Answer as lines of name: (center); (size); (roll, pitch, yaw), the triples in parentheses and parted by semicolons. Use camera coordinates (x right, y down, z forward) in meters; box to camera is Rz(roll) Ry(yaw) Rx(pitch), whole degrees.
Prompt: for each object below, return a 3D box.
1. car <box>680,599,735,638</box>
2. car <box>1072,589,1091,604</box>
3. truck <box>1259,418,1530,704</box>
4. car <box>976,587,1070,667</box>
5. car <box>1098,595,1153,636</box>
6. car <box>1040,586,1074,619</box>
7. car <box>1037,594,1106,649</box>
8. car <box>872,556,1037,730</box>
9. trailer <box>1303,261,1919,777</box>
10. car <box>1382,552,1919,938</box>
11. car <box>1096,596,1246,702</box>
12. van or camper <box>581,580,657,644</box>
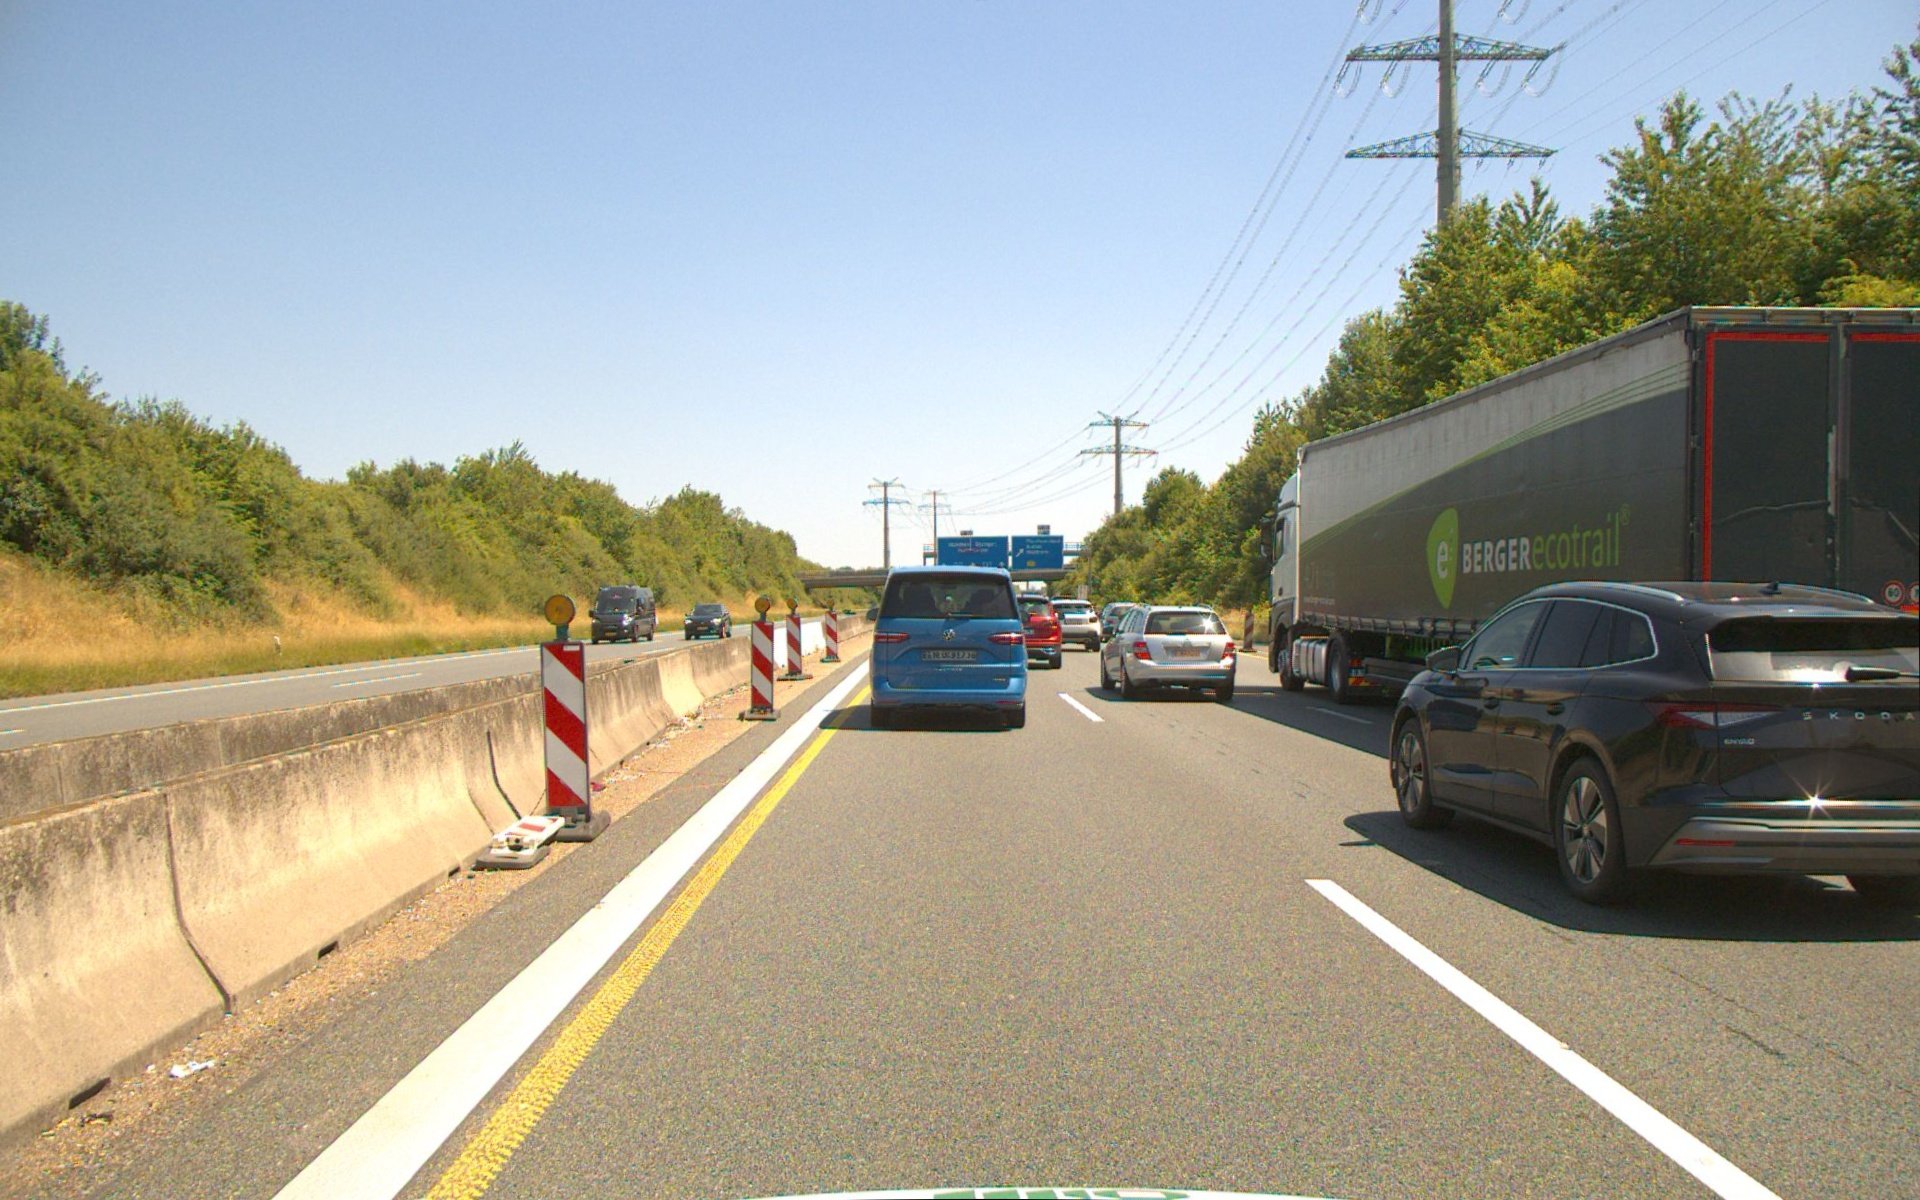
car: (-11.806, 0.834, 77.485); (1.953, 1.713, 4.152); (-3, 0, -1)
car: (14.701, -0.427, 200.753); (1.837, 1.700, 4.358); (1, 0, -2)
truck: (6.868, -0.556, 27.004); (2.678, 4.118, 5.791); (1, 0, -2)
car: (1.384, 0.600, 38.113); (1.837, 1.700, 4.358); (1, 0, -2)
car: (6.335, 0.592, 63.760); (1.666, 1.473, 3.787); (1, 0, -1)
car: (6.221, 0.143, 106.439); (1.761, 2.049, 4.226); (1, 0, -1)
car: (3.427, 0.644, 51.549); (1.761, 1.622, 4.226); (1, 0, -1)
car: (-0.122, 0.497, 20.937); (1.837, 1.945, 4.358); (1, 0, -2)
trailer: (7.039, -0.621, 19.910); (2.727, 4.118, 13.107); (1, 0, -1)
car: (3.902, 0.657, 9.527); (1.666, 1.684, 4.428); (1, 0, -2)
car: (3.331, 0.735, 26.872); (1.735, 1.544, 4.358); (1, 0, -2)
van or camper: (-15.808, 0.538, 77.093); (2.178, 2.758, 7.078); (-3, 0, -2)
